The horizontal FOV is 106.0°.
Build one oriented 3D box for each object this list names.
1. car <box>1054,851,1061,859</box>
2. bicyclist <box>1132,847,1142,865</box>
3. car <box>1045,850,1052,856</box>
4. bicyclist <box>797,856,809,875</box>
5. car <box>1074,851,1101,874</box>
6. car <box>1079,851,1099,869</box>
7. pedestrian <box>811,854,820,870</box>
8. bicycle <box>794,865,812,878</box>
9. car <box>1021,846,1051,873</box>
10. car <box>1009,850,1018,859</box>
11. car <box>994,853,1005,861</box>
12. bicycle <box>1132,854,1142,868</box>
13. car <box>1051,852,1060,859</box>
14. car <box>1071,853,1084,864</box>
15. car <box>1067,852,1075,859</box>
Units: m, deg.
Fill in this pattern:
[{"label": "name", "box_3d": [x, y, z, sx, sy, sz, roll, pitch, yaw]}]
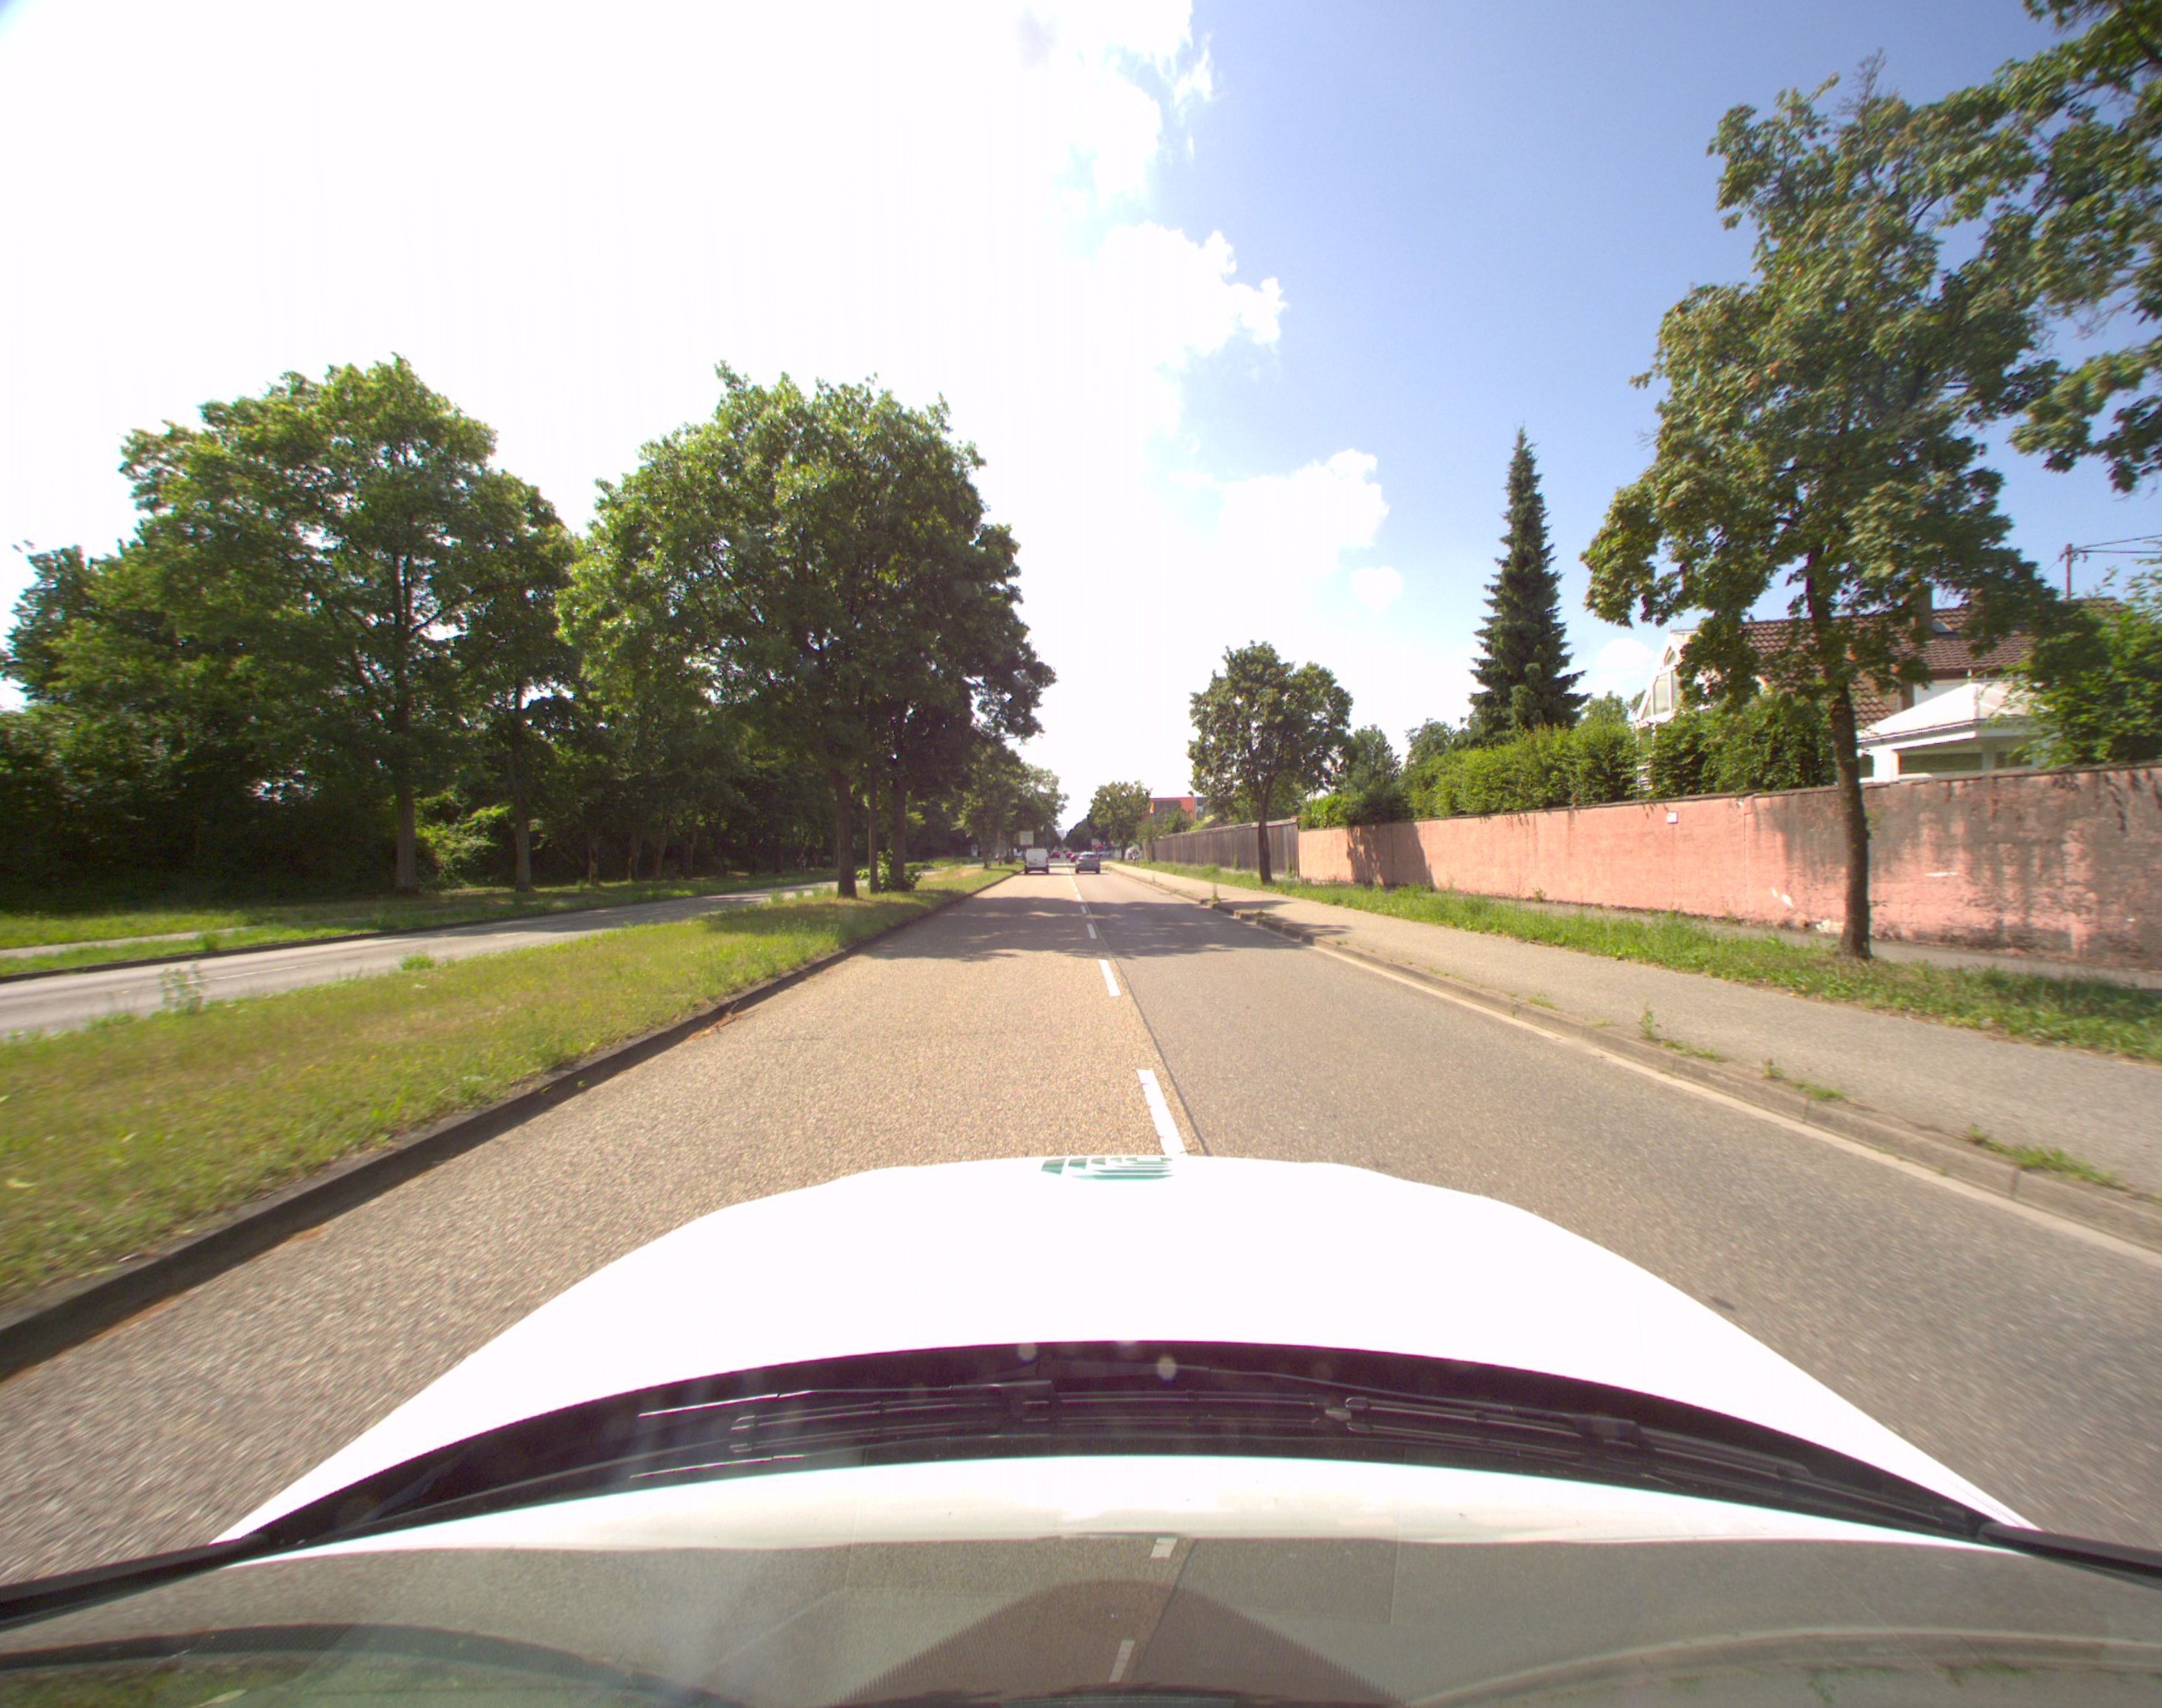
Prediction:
[{"label": "car", "box_3d": [-5.972, 0.262, 207.027, 1.774, 1.767, 4.167, -1, 0, -1]}, {"label": "bicyclist", "box_3d": [4.585, 0.169, 67.086, 0.652, 1.412, 0.986, -3, 0, -1]}, {"label": "car", "box_3d": [-9.980, -0.414, 250.236, 1.774, 1.767, 4.149, -1, 0, -1]}, {"label": "bicyclist", "box_3d": [-20.610, 0.846, 60.416, 0.616, 1.448, 0.730, -1, 0, 1]}, {"label": "car", "box_3d": [0.439, 0.613, 60.520, 1.870, 1.589, 4.182, -1, 0, -1]}, {"label": "car", "box_3d": [0.724, 0.561, 77.654, 1.774, 1.643, 4.194, -1, 0, -1]}, {"label": "pedestrian", "box_3d": [-27.450, 0.781, 84.170, 0.642, 1.630, 0.656, 0, 0, -1]}, {"label": "bicycle", "box_3d": [-20.603, 1.281, 60.465, 0.616, 0.878, 1.915, -1, 0, 1]}, {"label": "car", "box_3d": [-3.299, 0.393, 60.355, 2.060, 1.912, 4.644, -1, 0, -1]}, {"label": "car", "box_3d": [-18.236, 0.101, 220.345, 2.039, 2.431, 5.247, -1, 0, -1]}, {"label": "car", "box_3d": [-17.903, 0.739, 178.279, 1.988, 1.705, 4.191, -1, 0, -1]}, {"label": "bicycle", "box_3d": [4.610, 0.591, 67.040, 0.644, 1.067, 2.278, -3, 0, 0]}, {"label": "car", "box_3d": [-6.179, 0.337, 196.988, 1.935, 1.767, 4.144, -1, 0, -1]}, {"label": "car", "box_3d": [-0.580, 0.594, 119.622, 1.875, 1.587, 3.998, -1, 0, -1]}, {"label": "car", "box_3d": [-2.472, 0.305, 197.842, 1.988, 1.772, 4.145, 0, 0, -1]}]
